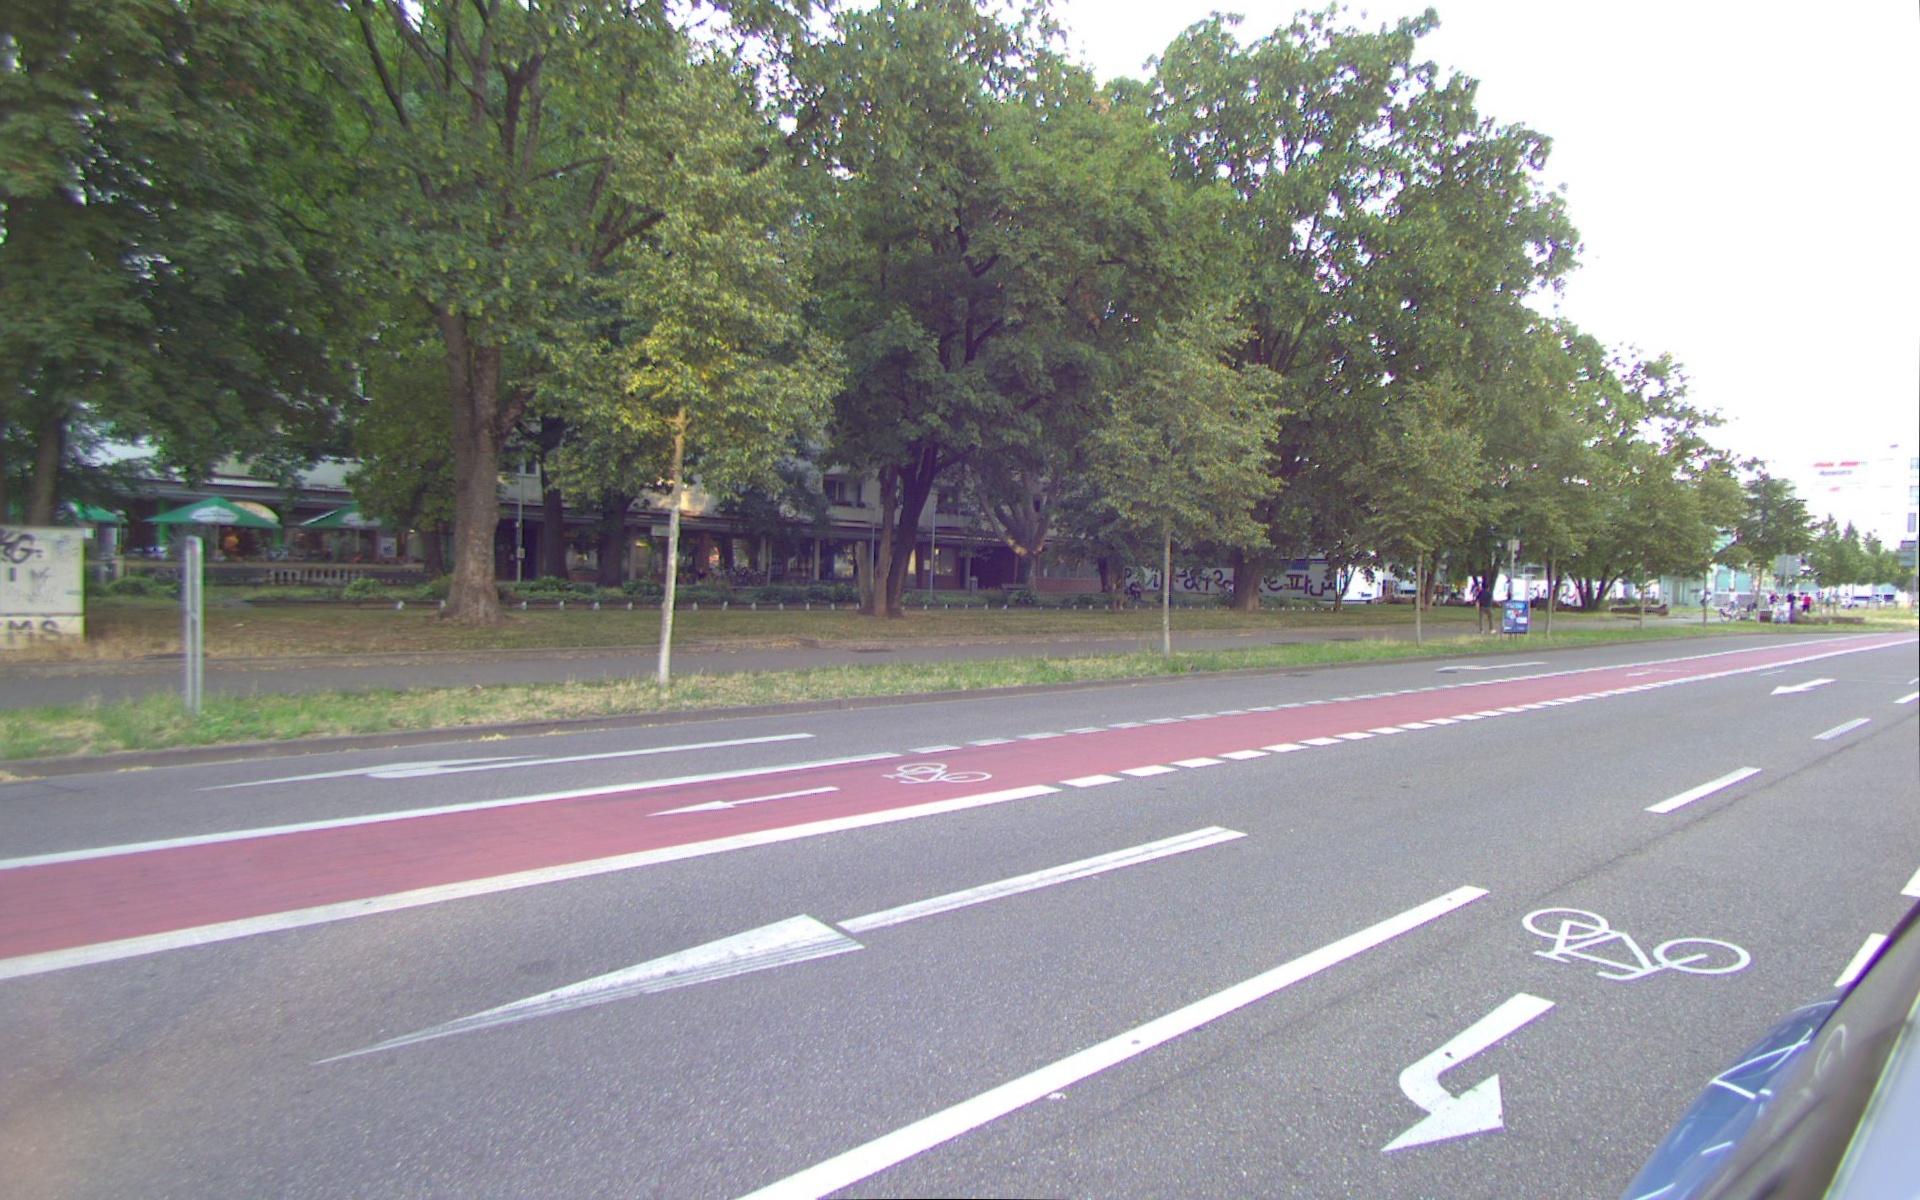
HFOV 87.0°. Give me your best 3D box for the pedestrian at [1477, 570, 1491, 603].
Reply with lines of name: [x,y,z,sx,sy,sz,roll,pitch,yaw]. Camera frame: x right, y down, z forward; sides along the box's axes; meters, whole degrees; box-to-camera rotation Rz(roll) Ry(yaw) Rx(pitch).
pedestrian: [26.231,-0.666,50.680,0.359,1.621,0.500,1,2,-40]

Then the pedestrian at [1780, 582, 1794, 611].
pedestrian: [50.661,-0.204,62.016,0.707,1.751,0.508,0,2,-40]

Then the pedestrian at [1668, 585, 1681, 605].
pedestrian: [50.204,-0.328,71.086,0.759,1.371,0.519,0,2,-41]

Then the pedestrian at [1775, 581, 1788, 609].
pedestrian: [52.164,-0.296,64.258,0.707,1.751,0.508,0,2,-40]

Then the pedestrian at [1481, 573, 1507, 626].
pedestrian: [17.911,-0.019,33.955,0.546,1.760,0.558,0,2,-41]

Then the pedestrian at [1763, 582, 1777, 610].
pedestrian: [51.753,-0.235,64.659,0.707,1.751,0.519,0,2,-40]

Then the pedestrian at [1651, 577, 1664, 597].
pedestrian: [49.447,-0.896,71.718,0.759,1.371,0.519,0,2,-41]

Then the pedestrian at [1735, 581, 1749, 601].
pedestrian: [55.866,-0.659,72.307,0.550,1.371,0.662,0,2,-40]

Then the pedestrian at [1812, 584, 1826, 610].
pedestrian: [59.918,-0.225,70.571,0.497,1.779,0.638,0,2,-40]

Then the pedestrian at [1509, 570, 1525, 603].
pedestrian: [27.416,-0.677,49.818,0.513,1.621,0.500,0,2,-41]

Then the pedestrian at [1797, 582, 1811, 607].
pedestrian: [59.494,-0.397,71.361,0.497,1.779,0.638,0,2,-40]

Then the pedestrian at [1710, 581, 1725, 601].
pedestrian: [55.158,-0.658,73.716,0.604,1.371,0.728,0,2,-40]
